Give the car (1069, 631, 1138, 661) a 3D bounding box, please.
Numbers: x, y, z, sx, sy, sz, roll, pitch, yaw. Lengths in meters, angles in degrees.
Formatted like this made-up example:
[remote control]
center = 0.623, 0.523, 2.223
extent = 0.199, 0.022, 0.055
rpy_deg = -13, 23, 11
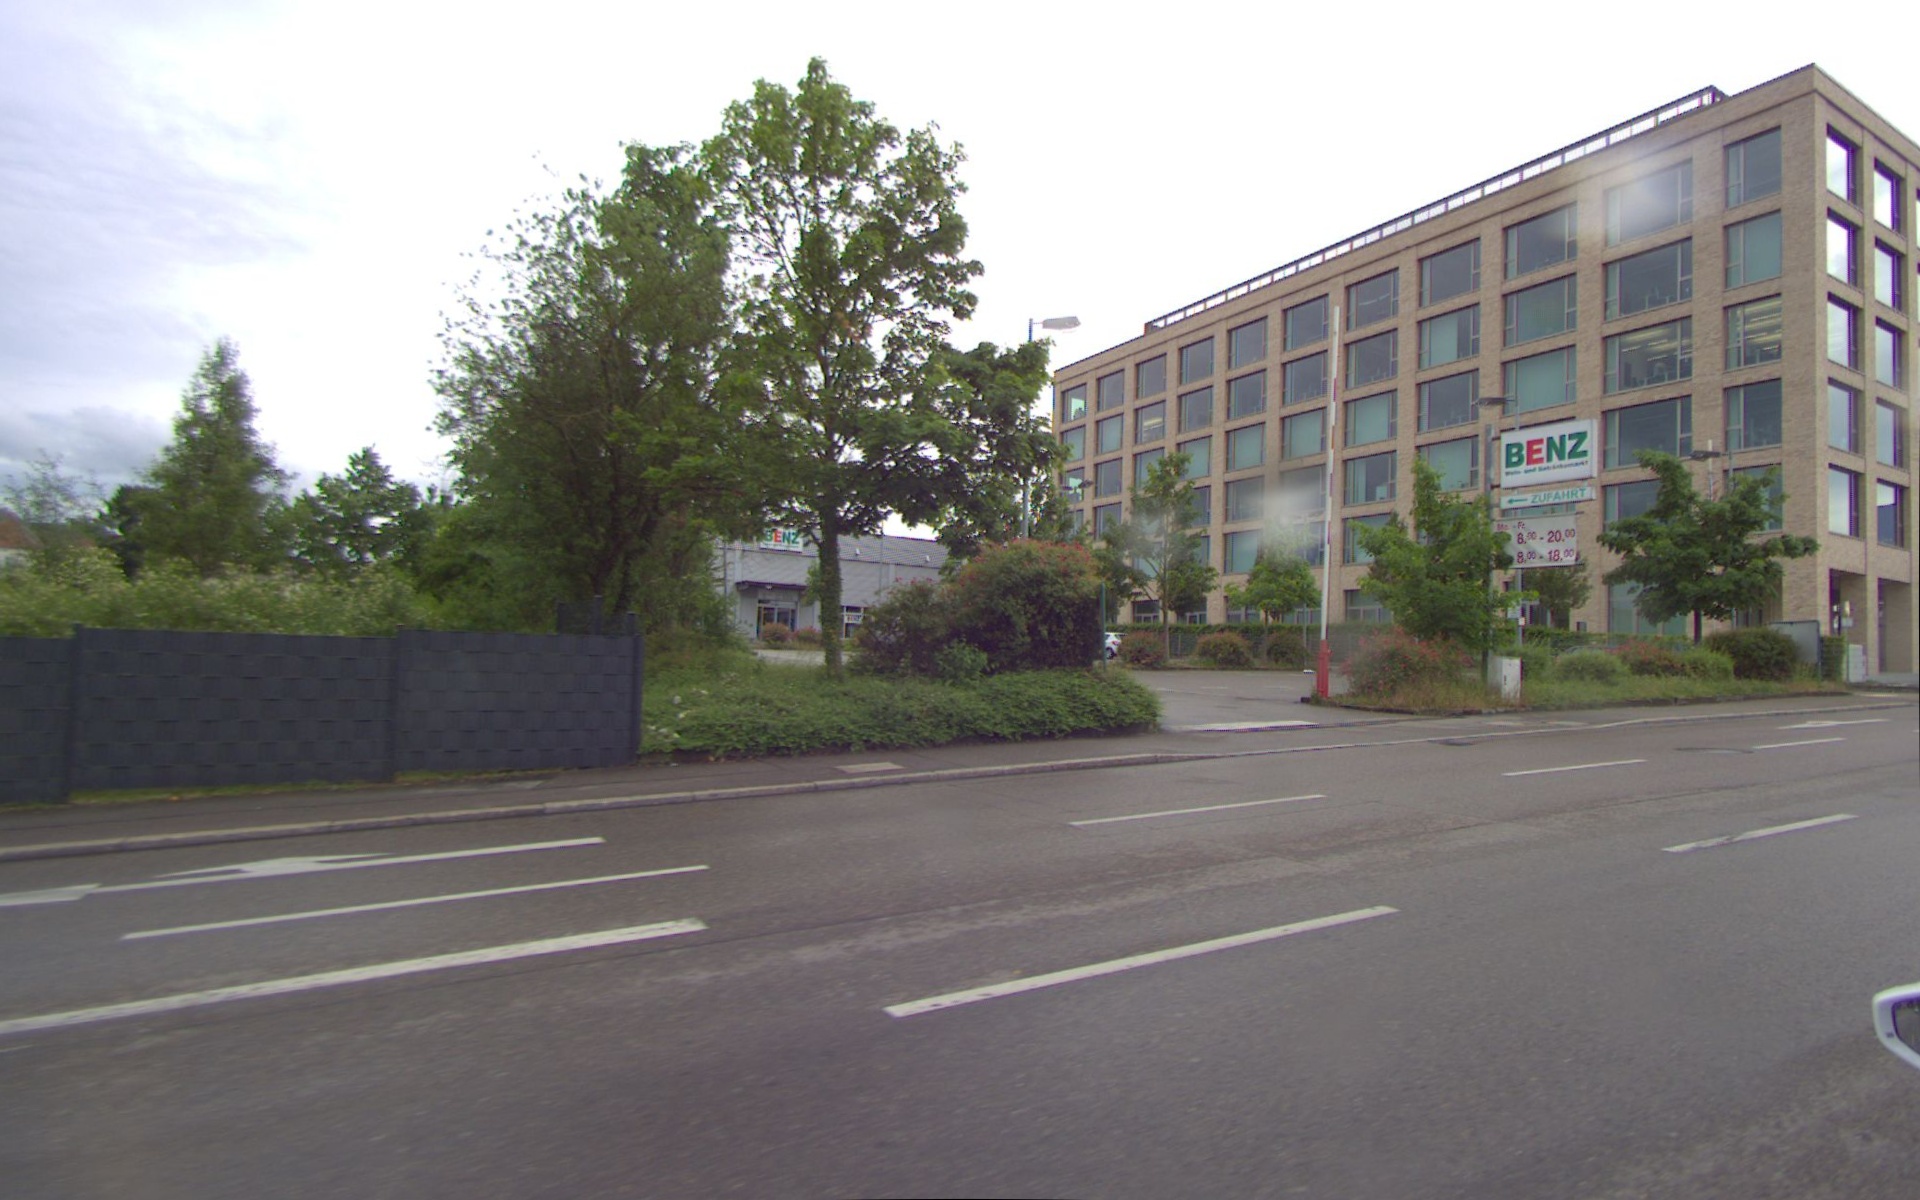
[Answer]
[car]
center = 8.393, 2.667, 58.994
extent = 1.977, 1.617, 3.967
rpy_deg = 2, -2, -31
